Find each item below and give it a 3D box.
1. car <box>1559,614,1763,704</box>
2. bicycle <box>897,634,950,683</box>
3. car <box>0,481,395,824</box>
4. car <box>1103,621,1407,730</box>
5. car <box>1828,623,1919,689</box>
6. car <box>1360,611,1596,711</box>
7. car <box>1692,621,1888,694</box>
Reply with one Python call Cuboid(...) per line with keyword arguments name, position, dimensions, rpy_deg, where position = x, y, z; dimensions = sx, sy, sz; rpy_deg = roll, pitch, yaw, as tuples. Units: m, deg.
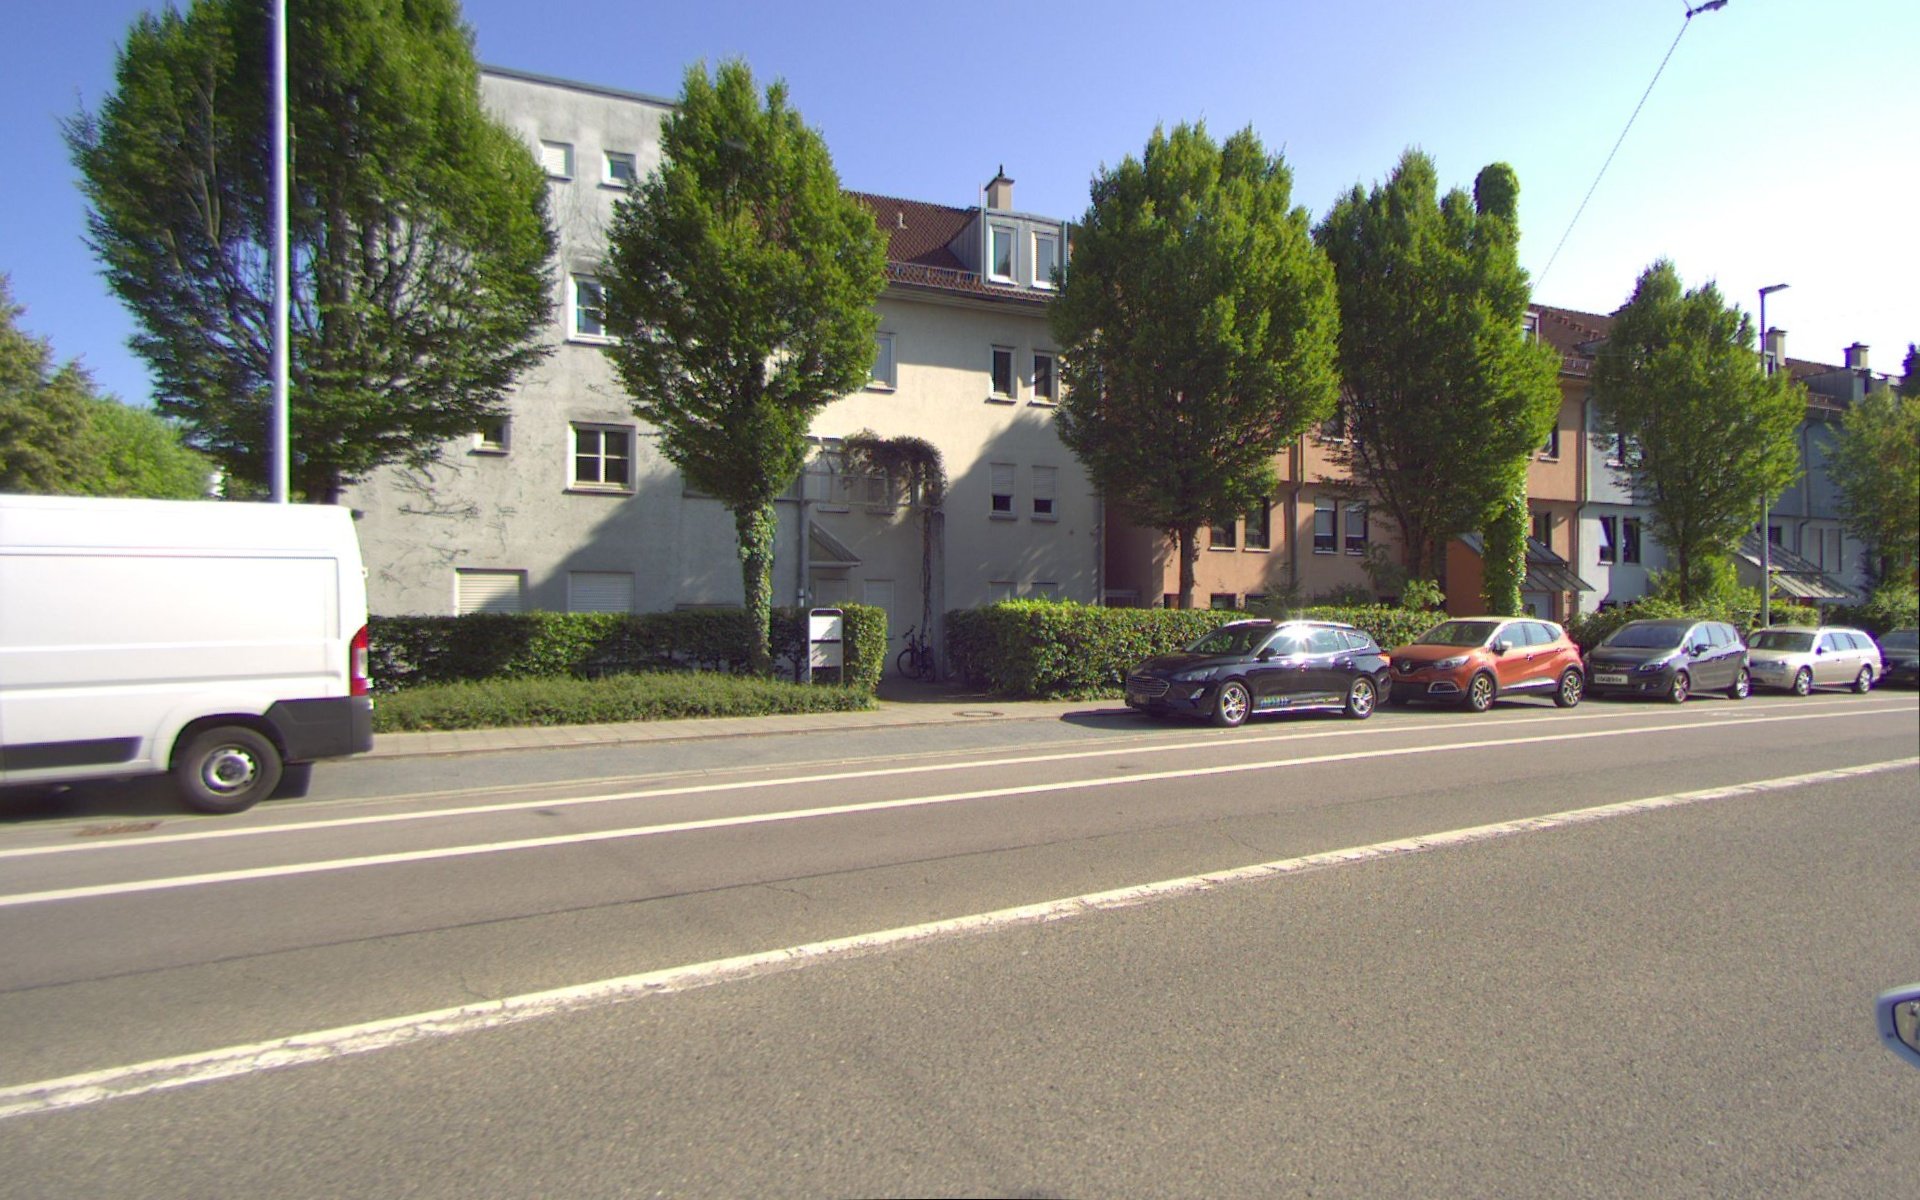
Cuboid(name="car", position=(14.306, 1.144, 20.455), dimensions=(4.248, 1.595, 1.754), rpy_deg=(1, 1, -30))
Cuboid(name="bicycle", position=(-0.822, 1.255, 22.001), dimensions=(0.633, 0.990, 1.679), rpy_deg=(0, 0, -22))
Cuboid(name="car", position=(-7.999, 0.351, 7.921), dimensions=(6.114, 2.491, 2.140), rpy_deg=(1, 1, -32))
Cuboid(name="car", position=(4.518, 1.040, 15.173), dimensions=(4.655, 1.443, 1.645), rpy_deg=(1, -1, -29))
Cuboid(name="car", position=(24.370, 1.375, 25.435), dimensions=(4.841, 1.491, 1.705), rpy_deg=(1, 1, -24))
Cuboid(name="car", position=(9.246, 1.038, 17.877), dimensions=(4.111, 1.594, 1.755), rpy_deg=(2, -1, -29))
Cuboid(name="car", position=(19.081, 1.299, 23.047), dimensions=(4.783, 1.491, 1.706), rpy_deg=(2, 0, -27))
